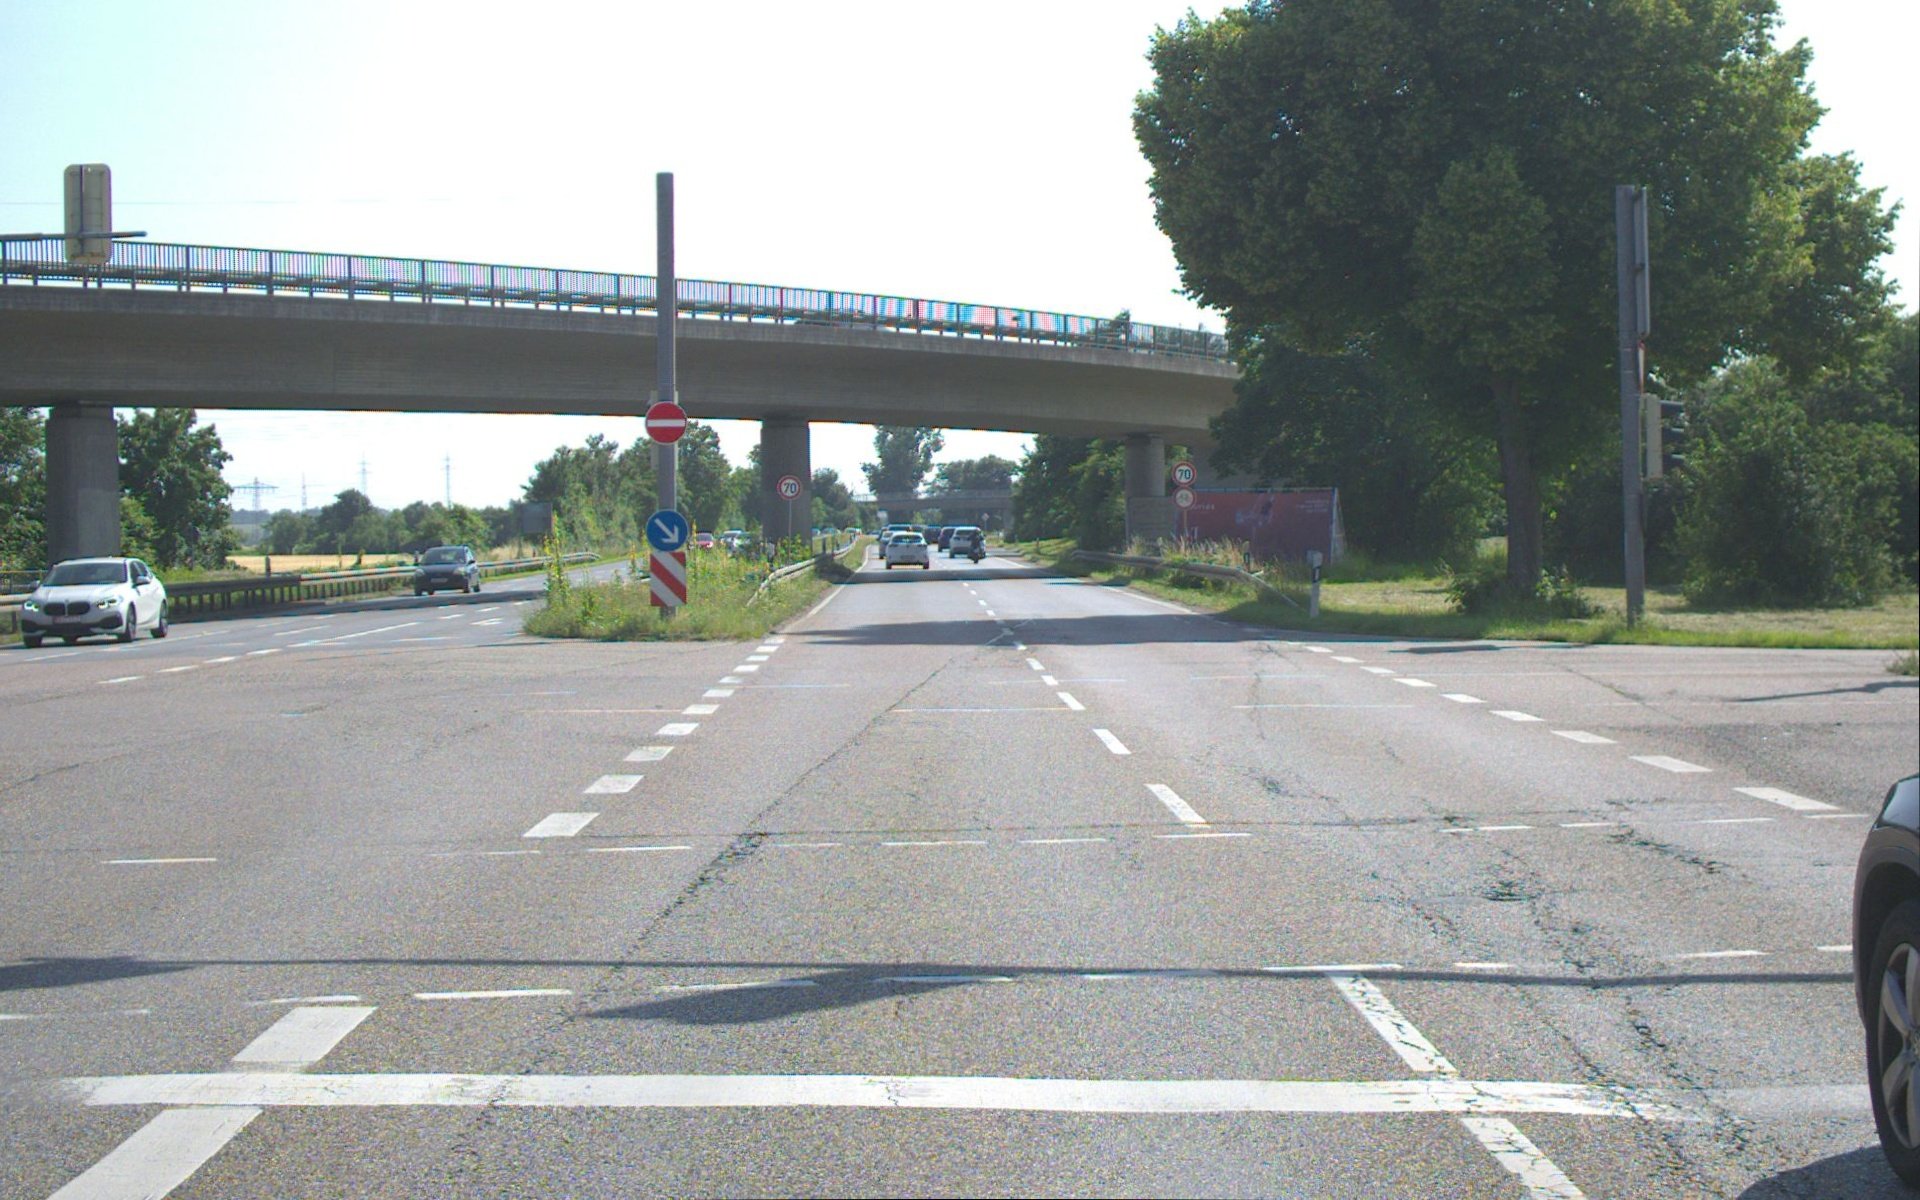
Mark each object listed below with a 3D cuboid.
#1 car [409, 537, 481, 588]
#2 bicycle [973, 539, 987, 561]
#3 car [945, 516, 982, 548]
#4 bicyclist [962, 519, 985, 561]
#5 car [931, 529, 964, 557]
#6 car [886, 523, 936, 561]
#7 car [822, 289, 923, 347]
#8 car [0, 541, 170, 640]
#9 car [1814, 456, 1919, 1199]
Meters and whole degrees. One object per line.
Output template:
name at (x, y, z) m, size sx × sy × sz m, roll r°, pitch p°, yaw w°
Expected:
car at (-15.808, -1.168, 105.696) m, size 1.614 × 1.437 × 3.776 m, roll -3°, pitch 1°, yaw 0°
bicycle at (0.909, -2.322, 158.099) m, size 0.600 × 0.980 × 2.361 m, roll -1°, pitch 1°, yaw 0°
car at (0.206, -3.616, 182.779) m, size 1.873 × 1.634 × 4.000 m, roll 1°, pitch 1°, yaw 1°
bicyclist at (0.611, -2.770, 158.346) m, size 1.007 × 1.880 × 1.327 m, roll -1°, pitch 1°, yaw 1°
car at (-0.813, -3.582, 216.731) m, size 1.993 × 1.626 × 4.000 m, roll 1°, pitch 0°, yaw -1°
car at (-1.927, -2.317, 136.151) m, size 1.851 × 1.456 × 4.000 m, roll 1°, pitch 1°, yaw 1°
car at (-2.490, -8.041, 98.162) m, size 1.322 × 1.481 × 3.192 m, roll -1°, pitch 1°, yaw 32°
car at (-14.909, -0.188, 58.752) m, size 1.882 × 1.510 × 4.148 m, roll -4°, pitch 1°, yaw -1°
car at (3.038, 0.541, 6.417) m, size 1.755 × 1.650 × 4.147 m, roll 1°, pitch 1°, yaw -1°
